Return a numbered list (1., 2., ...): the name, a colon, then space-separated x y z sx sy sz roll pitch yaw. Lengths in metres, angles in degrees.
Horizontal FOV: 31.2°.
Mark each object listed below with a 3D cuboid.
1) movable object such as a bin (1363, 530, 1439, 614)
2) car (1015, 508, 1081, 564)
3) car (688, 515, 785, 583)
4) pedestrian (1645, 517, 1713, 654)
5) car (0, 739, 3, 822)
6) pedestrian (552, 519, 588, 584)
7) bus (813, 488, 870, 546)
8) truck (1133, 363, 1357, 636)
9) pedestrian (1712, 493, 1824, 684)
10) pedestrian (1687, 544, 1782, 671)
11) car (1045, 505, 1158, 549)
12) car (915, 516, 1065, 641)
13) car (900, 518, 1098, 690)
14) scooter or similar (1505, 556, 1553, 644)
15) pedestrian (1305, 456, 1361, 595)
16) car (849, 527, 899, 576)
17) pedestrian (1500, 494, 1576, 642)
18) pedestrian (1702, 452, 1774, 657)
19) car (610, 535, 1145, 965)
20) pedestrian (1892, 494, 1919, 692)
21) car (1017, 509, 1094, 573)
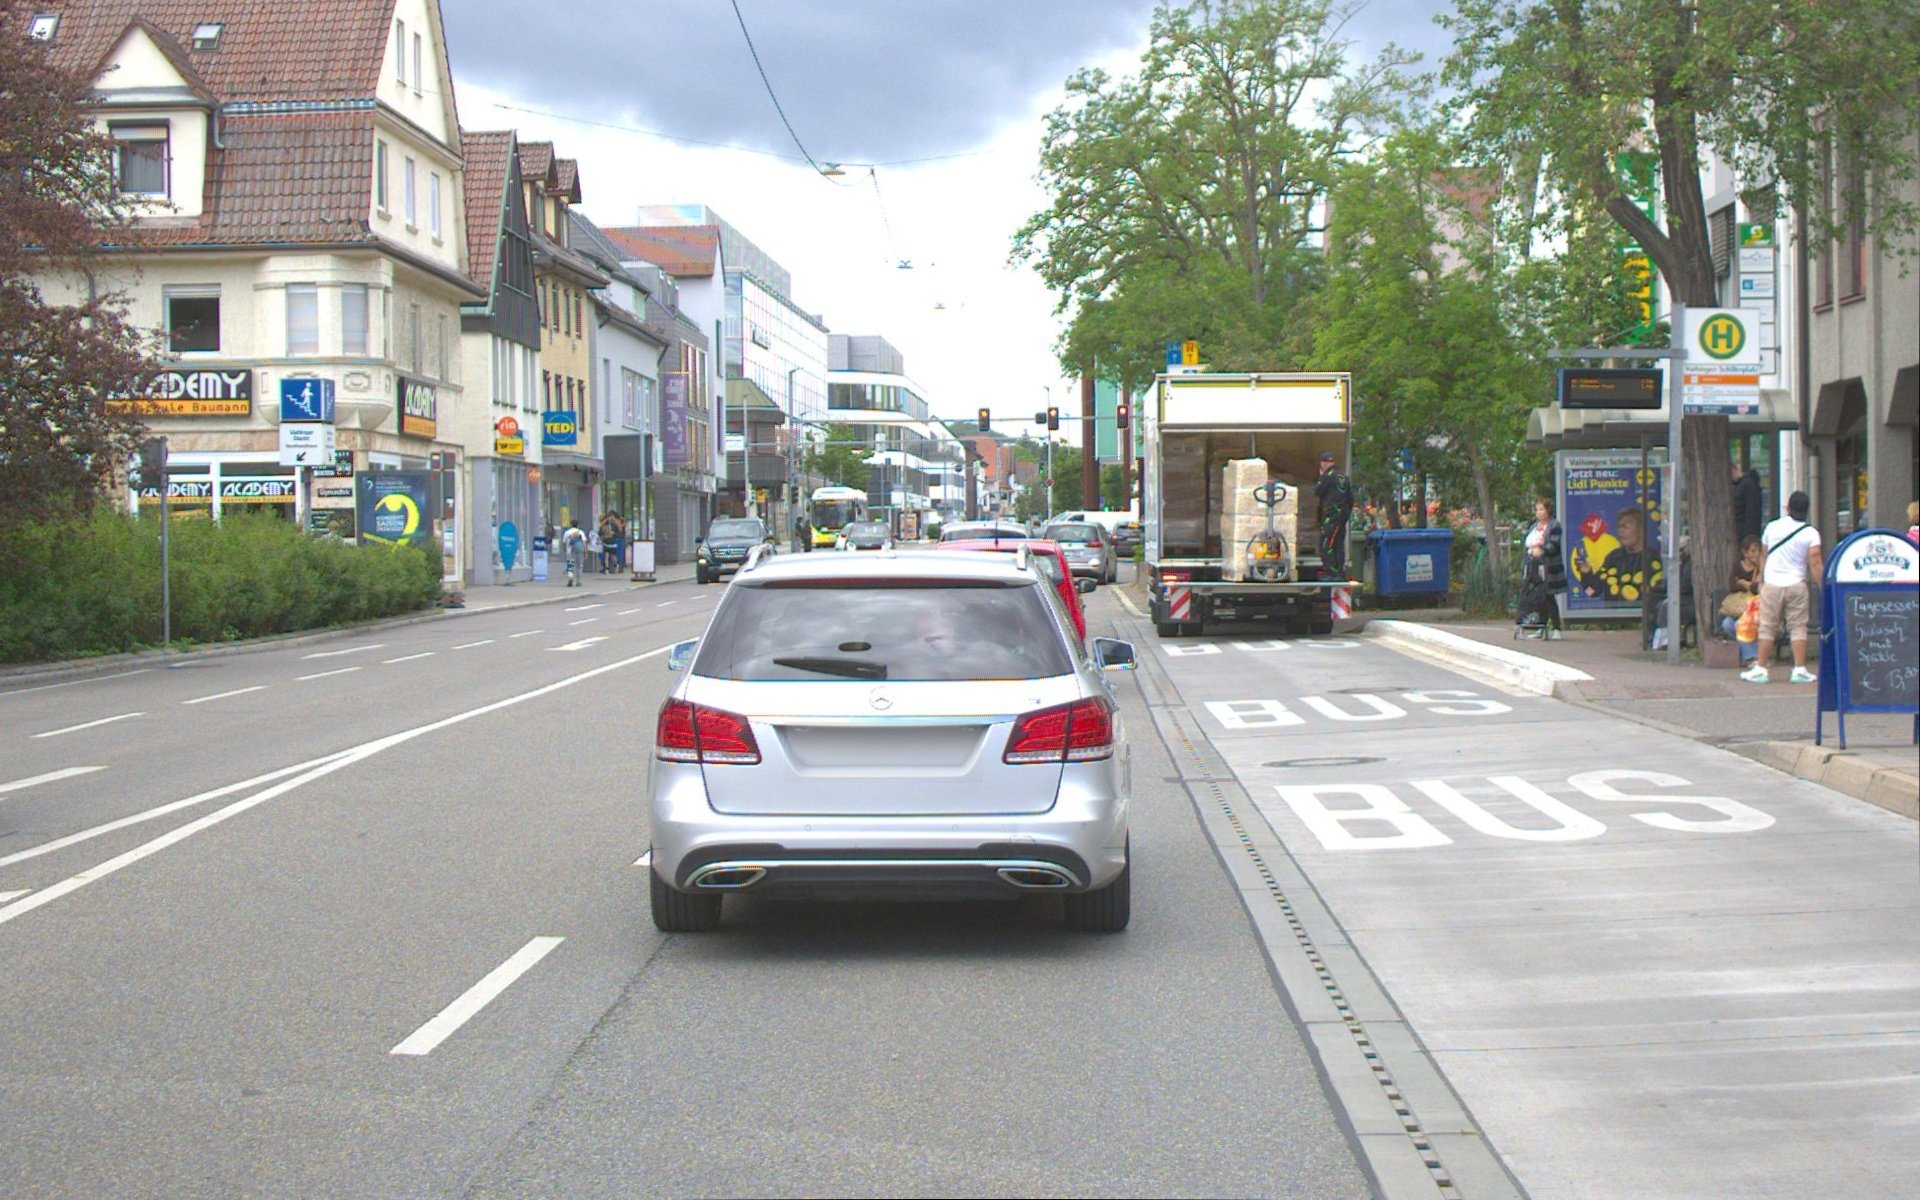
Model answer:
1. movable object such as a bin: 7.181 -0.470 56.033 1.143 1.335 1.376 -1 1 4
2. car: 2.735 -1.974 105.831 1.993 1.678 4.000 0 1 2
3. car: -6.113 -1.415 94.443 2.069 1.732 4.693 -2 1 3
4. pedestrian: 7.507 -0.157 35.865 0.613 1.396 0.587 -2 0 15
5. car: -6.065 0.475 15.925 1.874 1.501 4.343 -2 1 2
6. pedestrian: -9.926 -1.240 87.436 0.816 1.629 0.980 2 1 -3
7. bus: -6.563 -4.594 191.158 2.775 3.154 5.932 0 1 2
8. truck: 3.974 -1.436 49.845 2.688 3.549 9.767 0 1 2
9. pedestrian: 7.025 -0.110 29.904 0.613 1.629 0.794 -1 2 -20
10. pedestrian: 7.278 0.065 32.319 0.711 1.162 0.588 0 2 -5
11. car: 6.900 -3.559 167.796 5.122 1.954 1.968 -2 1 -22
12. car: 0.470 -0.342 48.479 1.993 1.678 4.000 0 1 2
13. car: 0.415 0.006 32.837 1.754 1.515 4.000 -1 1 2
14. scooter or similar: 6.306 -0.003 38.090 0.384 0.955 0.355 -2 2 -39
15. pedestrian: 4.798 -0.953 44.214 0.613 1.774 0.588 -1 0 -2
16. car: -2.804 -1.608 112.358 1.570 1.535 2.961 2 1 -1
17. pedestrian: 6.471 -0.361 38.496 0.534 1.629 0.588 2 2 -23
18. pedestrian: 7.873 -0.458 34.787 0.613 2.040 0.587 -2 0 15
19. car: -0.293 0.489 14.076 1.874 1.501 4.000 0 1 0
20. pedestrian: 7.838 -0.053 27.454 0.673 1.562 0.491 2 3 22
21. car: 2.556 -1.588 91.641 1.993 1.678 4.000 0 1 2
